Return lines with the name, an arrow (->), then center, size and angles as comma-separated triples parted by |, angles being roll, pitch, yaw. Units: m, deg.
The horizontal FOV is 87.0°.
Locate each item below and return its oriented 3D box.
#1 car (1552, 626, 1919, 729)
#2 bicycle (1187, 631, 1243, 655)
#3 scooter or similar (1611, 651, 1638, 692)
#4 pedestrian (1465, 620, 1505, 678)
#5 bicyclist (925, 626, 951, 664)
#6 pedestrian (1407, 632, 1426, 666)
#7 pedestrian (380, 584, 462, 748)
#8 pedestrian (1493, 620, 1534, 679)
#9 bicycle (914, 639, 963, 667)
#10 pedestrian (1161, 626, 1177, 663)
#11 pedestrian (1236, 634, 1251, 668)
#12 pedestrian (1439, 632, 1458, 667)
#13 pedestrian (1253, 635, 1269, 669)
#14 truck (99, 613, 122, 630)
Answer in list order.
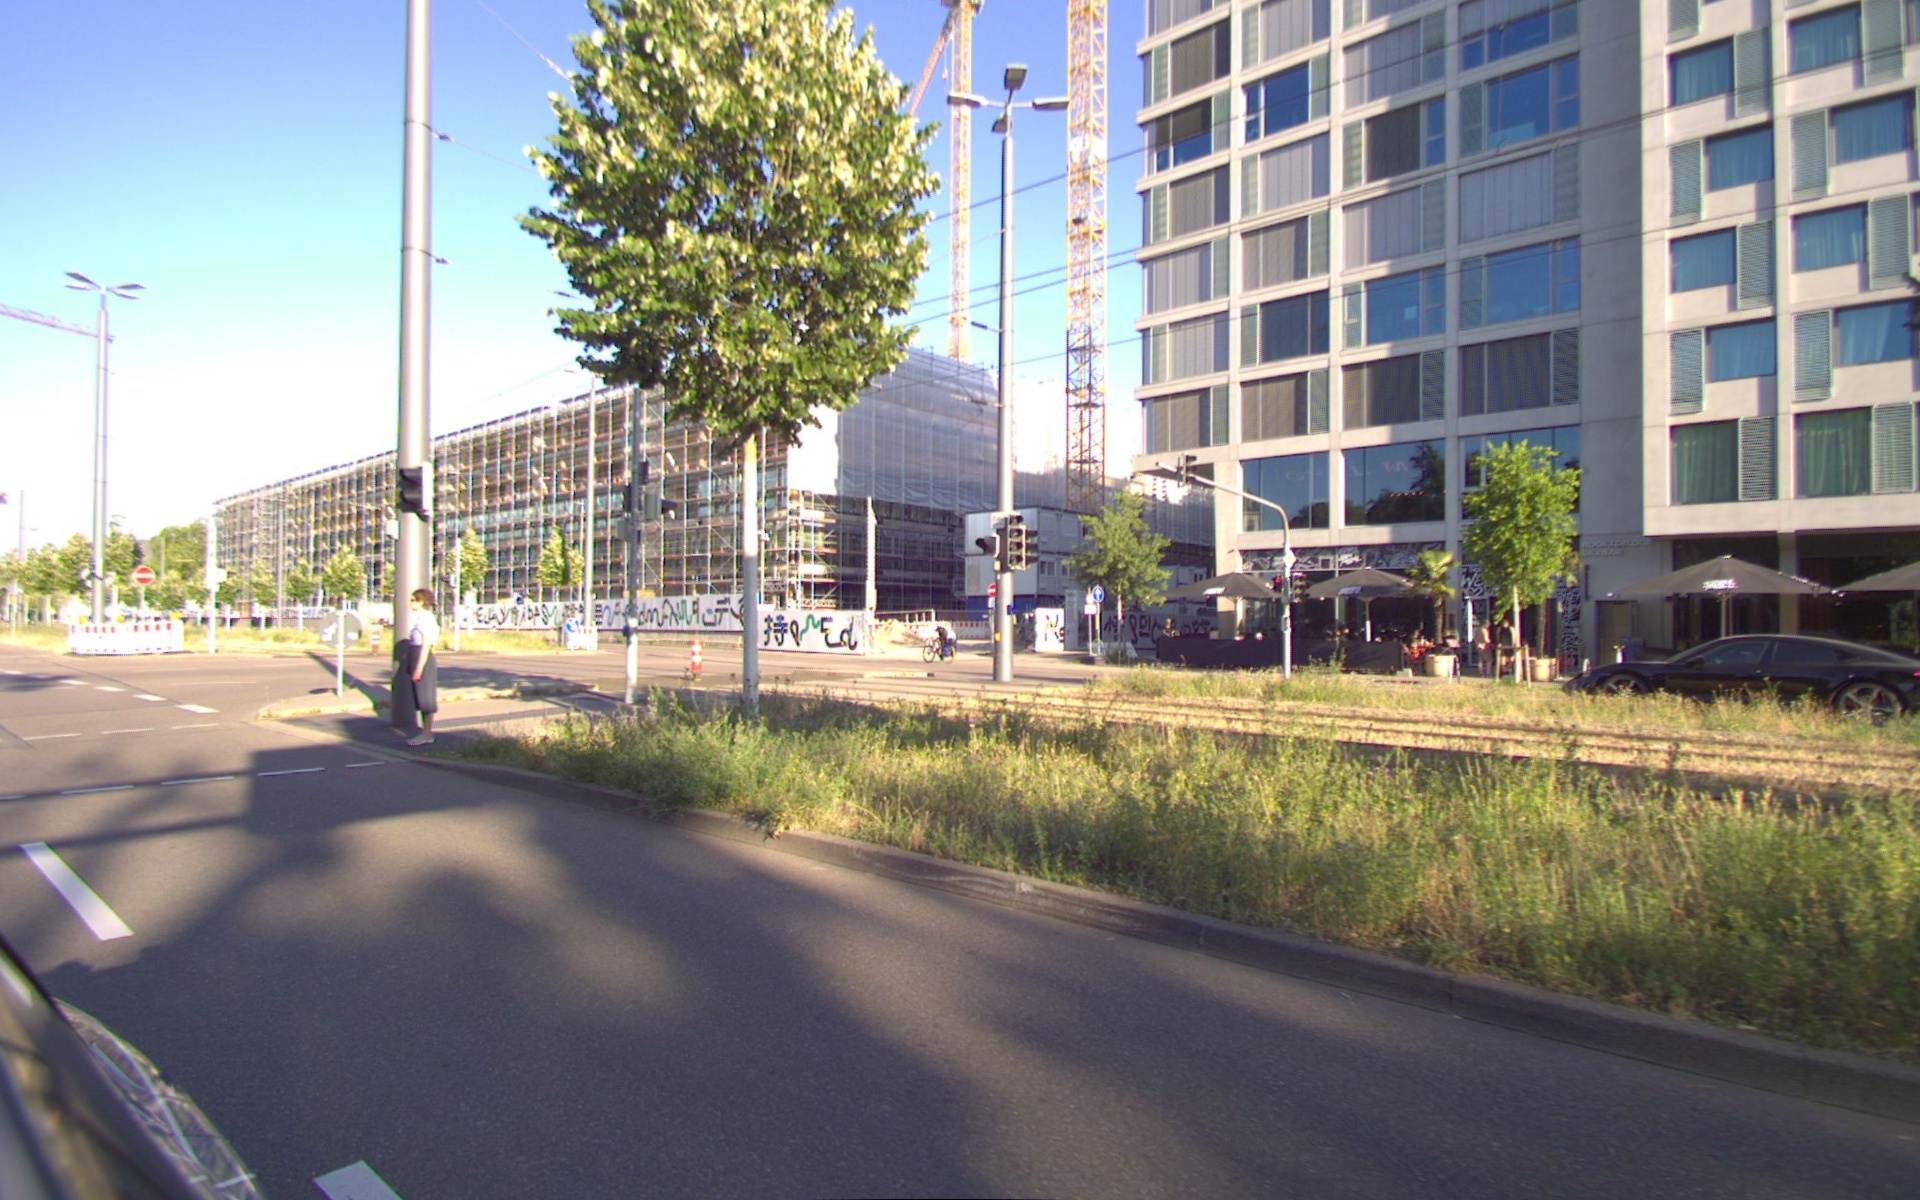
car -> 11.952, 1.087, 15.389 | 4.847, 1.354, 1.871 | -1, -2, 41
bicycle -> 10.443, 1.744, 41.535 | 2.215, 0.943, 0.612 | -1, -2, 41
scooter or similar -> 17.008, 1.818, 25.898 | 0.406, 1.014, 1.230 | -1, -2, 42
pedestrian -> 16.107, 1.483, 31.037 | 0.858, 1.734, 0.805 | 1, -2, -40
bicyclist -> -0.862, 1.782, 40.322 | 0.851, 1.476, 0.618 | -1, -2, 42
pedestrian -> 16.488, 1.768, 36.561 | 0.497, 1.231, 0.427 | -1, -2, 41
pedestrian -> -5.863, 0.699, 11.013 | 0.591, 1.712, 0.714 | 2, -2, -44
pedestrian -> 16.653, 1.473, 30.454 | 0.858, 1.734, 0.805 | 1, -2, -40
bicycle -> -0.878, 2.093, 40.325 | 2.077, 1.075, 0.618 | -1, -2, 42
pedestrian -> 8.779, 1.859, 42.486 | 0.573, 1.510, 0.583 | 0, -2, 22
pedestrian -> 10.273, 1.847, 36.664 | 0.432, 1.203, 0.360 | -1, -2, 38
pedestrian -> 17.296, 1.754, 35.826 | 0.497, 1.231, 0.427 | -1, -2, 41
pedestrian -> 10.644, 1.837, 35.763 | 0.432, 1.203, 0.360 | -1, -2, 38
truck -> -132.718, 3.398, 158.116 | 4.740, 2.593, 2.115 | -1, -2, 43
